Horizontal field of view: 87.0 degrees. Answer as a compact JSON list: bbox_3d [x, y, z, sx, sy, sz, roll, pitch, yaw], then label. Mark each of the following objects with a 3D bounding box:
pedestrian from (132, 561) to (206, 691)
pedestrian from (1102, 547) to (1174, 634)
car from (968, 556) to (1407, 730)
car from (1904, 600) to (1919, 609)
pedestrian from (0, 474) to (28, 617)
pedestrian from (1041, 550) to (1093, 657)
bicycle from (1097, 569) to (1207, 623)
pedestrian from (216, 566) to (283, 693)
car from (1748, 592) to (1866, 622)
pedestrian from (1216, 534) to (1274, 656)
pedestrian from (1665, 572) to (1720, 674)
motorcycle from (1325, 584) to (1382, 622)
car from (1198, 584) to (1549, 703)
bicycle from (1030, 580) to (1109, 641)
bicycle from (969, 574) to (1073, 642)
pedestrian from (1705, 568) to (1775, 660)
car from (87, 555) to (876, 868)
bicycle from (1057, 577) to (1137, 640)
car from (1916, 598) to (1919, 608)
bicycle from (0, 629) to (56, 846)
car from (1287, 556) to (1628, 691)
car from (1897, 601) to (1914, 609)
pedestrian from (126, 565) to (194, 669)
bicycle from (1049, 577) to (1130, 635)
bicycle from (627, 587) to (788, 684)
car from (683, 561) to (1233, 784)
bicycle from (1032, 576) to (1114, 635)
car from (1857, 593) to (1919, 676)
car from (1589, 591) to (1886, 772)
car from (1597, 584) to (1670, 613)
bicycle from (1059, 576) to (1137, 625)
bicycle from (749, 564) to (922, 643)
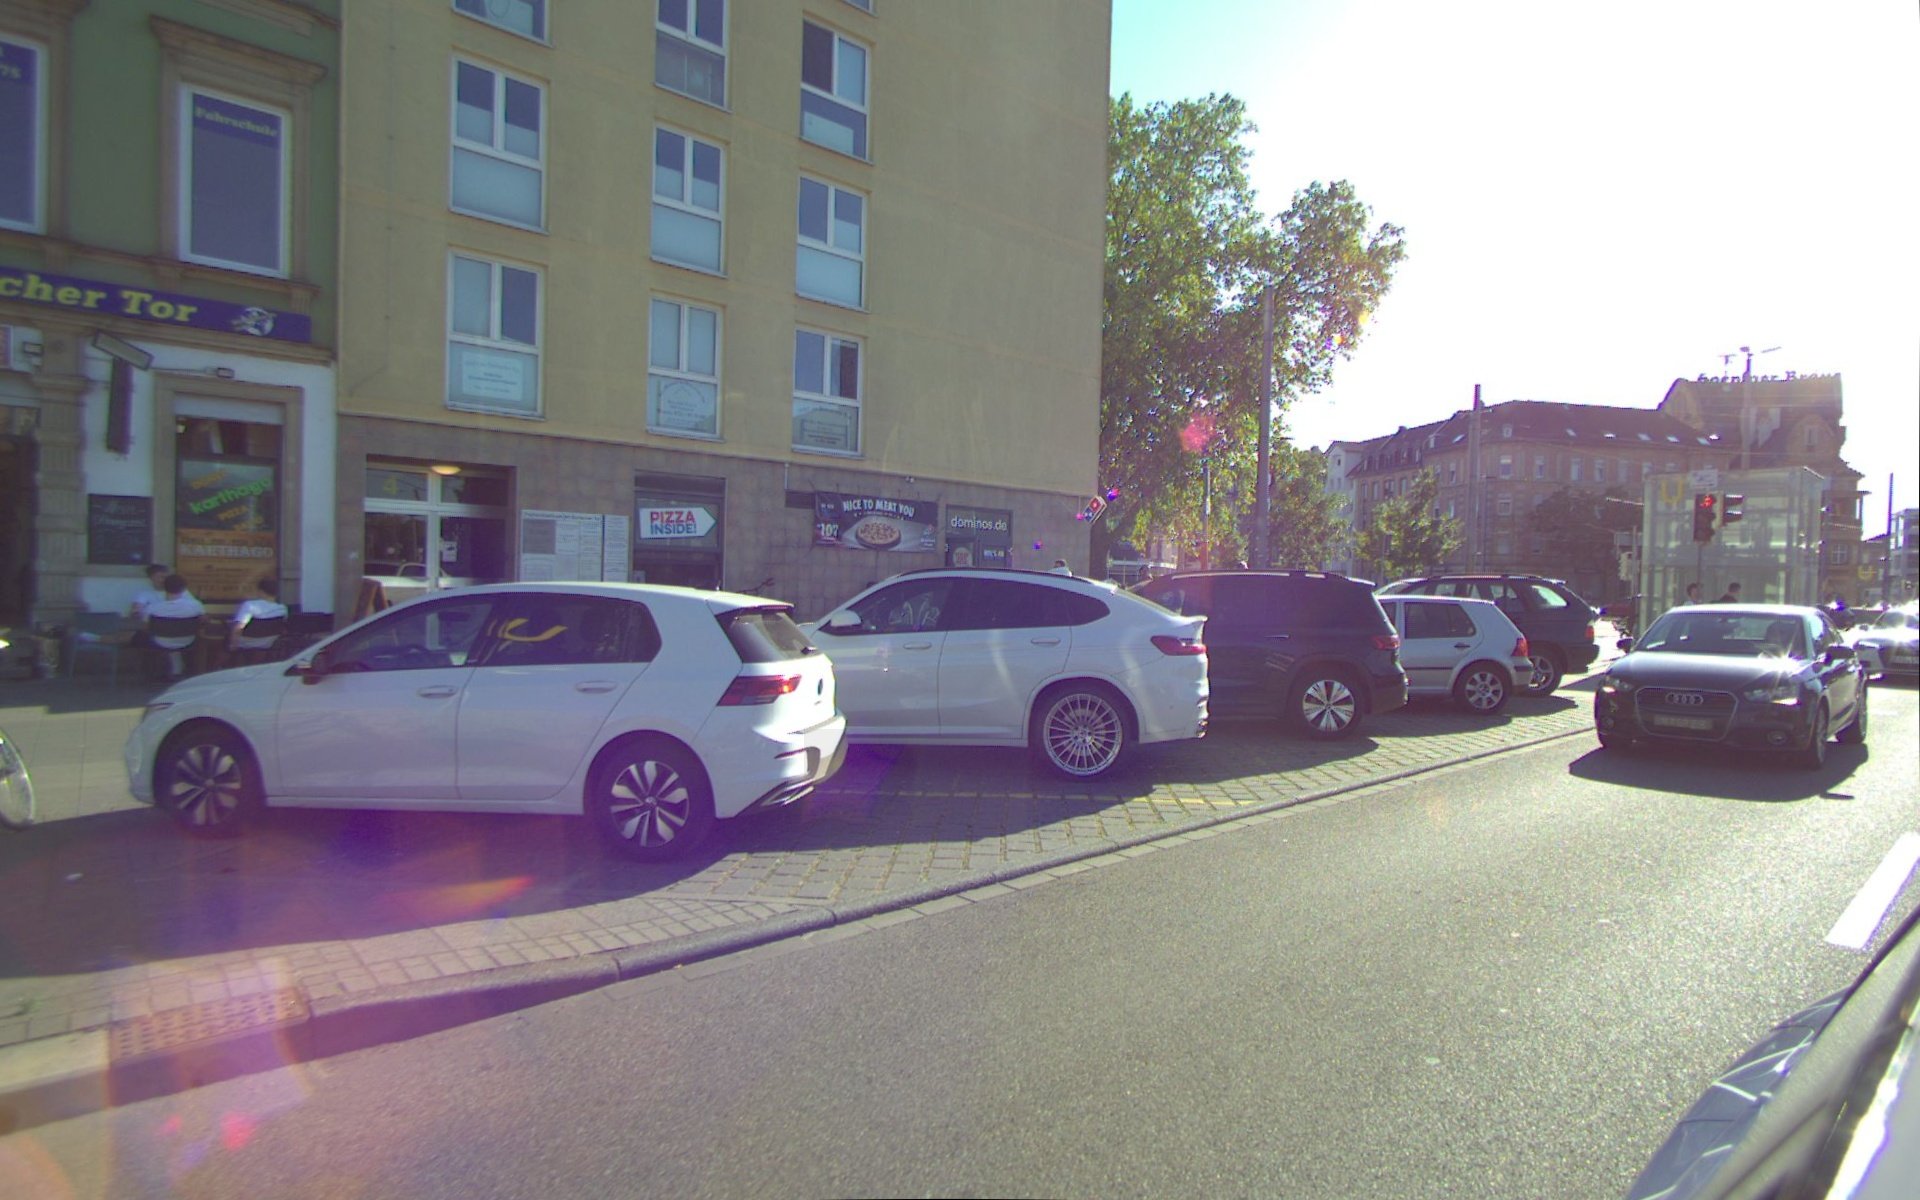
[{"bbox_3d":[-8.423,0.259,10.795,0.580,1.335,0.517,0,1,-34],"label":"pedestrian"},{"bbox_3d":[4.403,-0.248,25.051,1.244,2.038,1.036,4,0,-24],"label":"pedestrian"},{"bbox_3d":[2.257,0.390,10.823,4.177,1.618,1.957,1,0,6],"label":"car"},{"bbox_3d":[170.756,0.752,181.482,1.746,1.482,3.966,2,0,36],"label":"car"},{"bbox_3d":[-11.928,-0.671,12.443,0.580,1.733,0.517,1,1,-29],"label":"pedestrian"},{"bbox_3d":[1.981,0.051,18.625,0.743,1.889,0.826,2,1,19],"label":"pedestrian"},{"bbox_3d":[4.793,-0.092,25.222,2.478,1.137,1.036,4,0,-24],"label":"bicycle"},{"bbox_3d":[-7.772,0.304,11.091,0.580,1.335,0.517,0,1,-34],"label":"pedestrian"},{"bbox_3d":[46.282,0.378,55.428,1.780,1.511,4.663,-3,1,-21],"label":"car"},{"bbox_3d":[4.568,-0.085,16.252,0.740,1.889,0.697,2,1,7],"label":"pedestrian"},{"bbox_3d":[13.022,0.382,18.011,0.693,1.749,0.744,2,1,33],"label":"pedestrian"},{"bbox_3d":[11.765,0.069,30.265,1.774,1.059,0.879,-2,4,-43],"label":"motorcycle"},{"bbox_3d":[5.170,0.511,13.104,3.823,1.417,1.787,0,0,5],"label":"car"},{"bbox_3d":[2.423,0.219,22.350,1.869,1.264,0.658,0,3,-44],"label":"bicycle"},{"bbox_3d":[1.248,0.147,20.204,2.260,1.264,0.658,0,3,-43],"label":"bicycle"},{"bbox_3d":[15.426,0.262,20.043,0.784,1.749,0.865,2,1,18],"label":"pedestrian"},{"bbox_3d":[-2.720,0.517,6.295,4.044,1.482,1.958,2,1,8],"label":"car"},{"bbox_3d":[2.960,0.164,21.772,1.869,1.264,0.658,0,3,-44],"label":"bicycle"},{"bbox_3d":[160.588,0.549,168.398,1.746,1.482,3.966,2,0,36],"label":"car"},{"bbox_3d":[-5.552,0.721,5.396,1.075,1.124,0.419,1,-1,1],"label":"bicycle"},{"bbox_3d":[7.314,0.299,15.310,4.180,1.837,1.956,1,0,8],"label":"car"},{"bbox_3d":[173.956,0.926,186.131,1.746,1.482,3.966,2,0,36],"label":"car"},{"bbox_3d":[-9.317,0.183,11.801,0.580,1.174,0.517,0,1,-34],"label":"pedestrian"},{"bbox_3d":[3.094,0.127,24.299,0.649,1.263,1.896,0,3,-44],"label":"bicycle"},{"bbox_3d":[-3.926,0.571,15.819,2.187,1.374,0.932,4,0,-38],"label":"bicycle"},{"bbox_3d":[0.025,0.505,8.623,4.179,1.590,1.956,1,0,8],"label":"car"},{"bbox_3d":[2.636,0.107,23.781,0.649,1.263,1.896,0,3,-44],"label":"bicycle"},{"bbox_3d":[18.539,0.609,19.015,4.377,1.405,1.825,0,2,-39],"label":"car"},{"bbox_3d":[7.799,0.641,10.031,3.766,1.405,1.693,-1,1,-42],"label":"car"},{"bbox_3d":[46.429,-0.129,69.863,1.721,1.480,4.031,-6,7,-17],"label":"car"},{"bbox_3d":[3.789,-0.008,27.913,1.993,1.214,0.803,5,3,44],"label":"bicycle"},{"bbox_3d":[-2.151,0.049,17.868,3.009,1.279,0.986,0,2,-43],"label":"bicycle"}]
